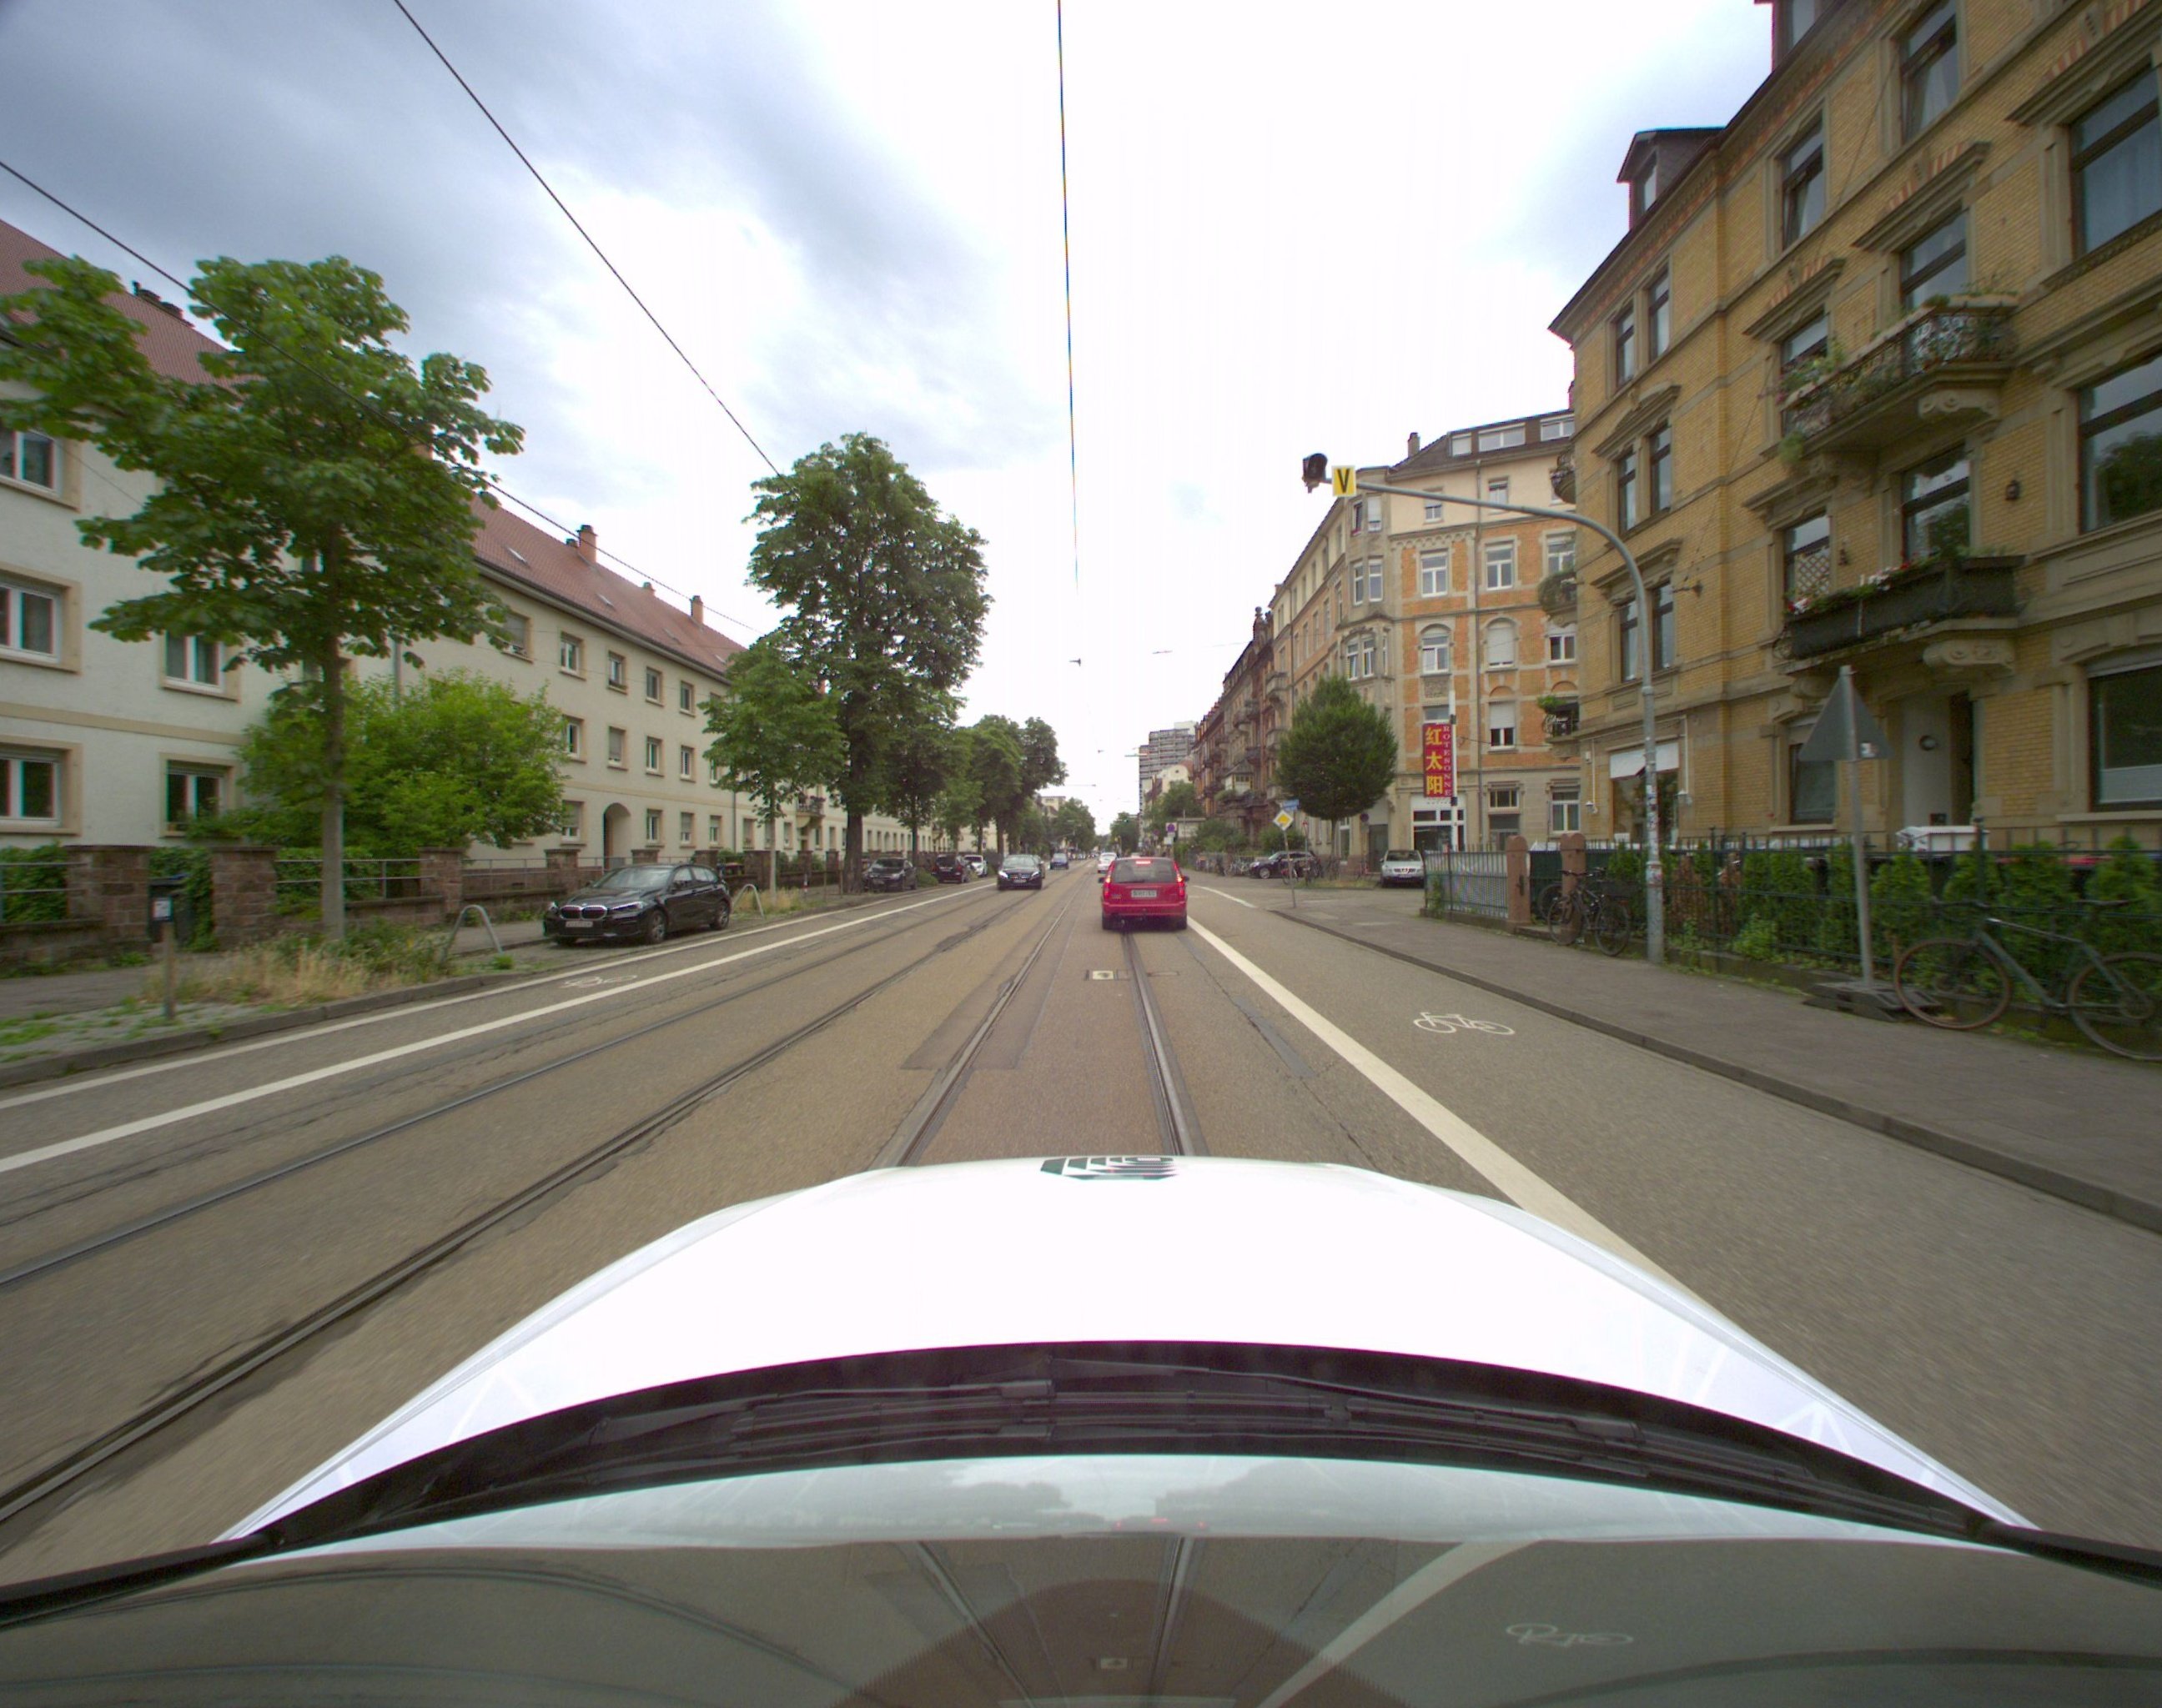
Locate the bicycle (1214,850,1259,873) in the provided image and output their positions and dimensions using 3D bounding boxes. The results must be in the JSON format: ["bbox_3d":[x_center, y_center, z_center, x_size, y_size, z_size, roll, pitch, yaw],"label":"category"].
[{"bbox_3d":[10.876,0.522,56.942,2.966,1.624,1.049,0,0,-1],"label":"bicycle"}]

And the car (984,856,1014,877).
[{"bbox_3d":[-6.121,0.889,61.154,1.713,1.486,4.002,-1,0,2],"label":"car"}]

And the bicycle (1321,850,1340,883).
[{"bbox_3d":[11.760,0.577,38.344,0.783,1.507,2.392,0,0,18],"label":"bicycle"}]

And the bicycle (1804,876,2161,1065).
[{"bbox_3d":[6.724,0.761,6.187,0.521,1.099,2.177,-3,0,1],"label":"bicycle"}]

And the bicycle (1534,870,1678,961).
[{"bbox_3d":[6.986,0.772,10.981,0.521,1.030,2.177,-4,0,1],"label":"bicycle"}]

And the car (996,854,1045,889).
[{"bbox_3d":[-2.531,0.715,35.081,1.749,1.380,4.027,0,0,1],"label":"car"}]

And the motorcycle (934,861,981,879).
[{"bbox_3d":[-7.853,0.990,51.940,2.865,1.077,1.098,-1,0,-6],"label":"motorcycle"}]

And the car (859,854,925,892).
[{"bbox_3d":[-7.981,0.769,34.759,1.711,1.482,4.003,0,0,3],"label":"car"}]

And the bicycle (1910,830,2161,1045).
[{"bbox_3d":[8.582,0.620,6.497,0.987,1.603,2.964,0,0,2],"label":"bicycle"}]

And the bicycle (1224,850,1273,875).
[{"bbox_3d":[10.777,0.546,52.482,2.966,1.624,1.049,0,0,-1],"label":"bicycle"}]

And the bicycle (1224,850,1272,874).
[{"bbox_3d":[11.078,0.526,53.953,2.966,1.624,1.049,0,0,-1],"label":"bicycle"}]

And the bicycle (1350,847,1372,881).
[{"bbox_3d":[12.868,0.459,37.495,0.910,1.507,2.392,0,0,18],"label":"bicycle"}]

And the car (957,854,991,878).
[{"bbox_3d":[-7.437,0.839,56.941,1.707,1.580,4.002,1,0,2],"label":"car"}]

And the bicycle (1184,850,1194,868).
[{"bbox_3d":[8.801,0.377,66.210,0.553,1.458,2.987,0,0,3],"label":"bicycle"}]

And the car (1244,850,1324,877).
[{"bbox_3d":[10.611,0.492,42.829,3.961,1.361,1.898,-1,0,11],"label":"car"}]

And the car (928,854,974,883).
[{"bbox_3d":[-7.207,0.778,45.637,1.844,1.563,3.944,0,0,1],"label":"car"}]

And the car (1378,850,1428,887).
[{"bbox_3d":[13.774,0.579,35.024,1.894,1.484,4.190,0,0,20],"label":"car"}]

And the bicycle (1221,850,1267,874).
[{"bbox_3d":[11.119,0.523,55.690,2.966,1.624,1.049,0,0,-1],"label":"bicycle"}]

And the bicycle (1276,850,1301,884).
[{"bbox_3d":[9.407,0.555,36.878,0.910,1.507,2.392,0,0,18],"label":"bicycle"}]

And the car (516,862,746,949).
[{"bbox_3d":[-8.465,0.892,15.883,1.882,1.398,4.420,0,0,3],"label":"car"}]

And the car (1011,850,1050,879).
[{"bbox_3d":[-2.921,0.572,47.777,1.887,1.611,4.501,0,0,1],"label":"car"}]

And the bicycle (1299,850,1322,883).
[{"bbox_3d":[10.785,0.580,38.277,0.910,1.507,2.392,0,0,18],"label":"bicycle"}]

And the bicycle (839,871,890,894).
[{"bbox_3d":[-8.188,1.078,30.796,1.742,0.844,0.684,0,0,2],"label":"bicycle"}]

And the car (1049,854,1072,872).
[{"bbox_3d":[-1.942,0.835,78.264,1.887,1.611,4.502,0,0,2],"label":"car"}]

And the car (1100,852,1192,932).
[{"bbox_3d":[1.255,0.700,16.911,1.683,1.441,3.744,1,0,1],"label":"car"}]

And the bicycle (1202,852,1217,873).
[{"bbox_3d":[8.251,0.519,52.511,0.705,1.300,1.905,-1,0,2],"label":"bicycle"}]

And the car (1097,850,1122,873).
[{"bbox_3d":[2.179,0.551,61.580,1.711,1.624,3.944,0,0,3],"label":"car"}]

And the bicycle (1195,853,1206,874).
[{"bbox_3d":[8.272,0.647,56.237,0.549,1.400,1.734,-1,0,2],"label":"bicycle"}]

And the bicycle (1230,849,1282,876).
[{"bbox_3d":[10.755,0.533,50.134,2.966,1.624,1.049,0,0,-1],"label":"bicycle"}]
